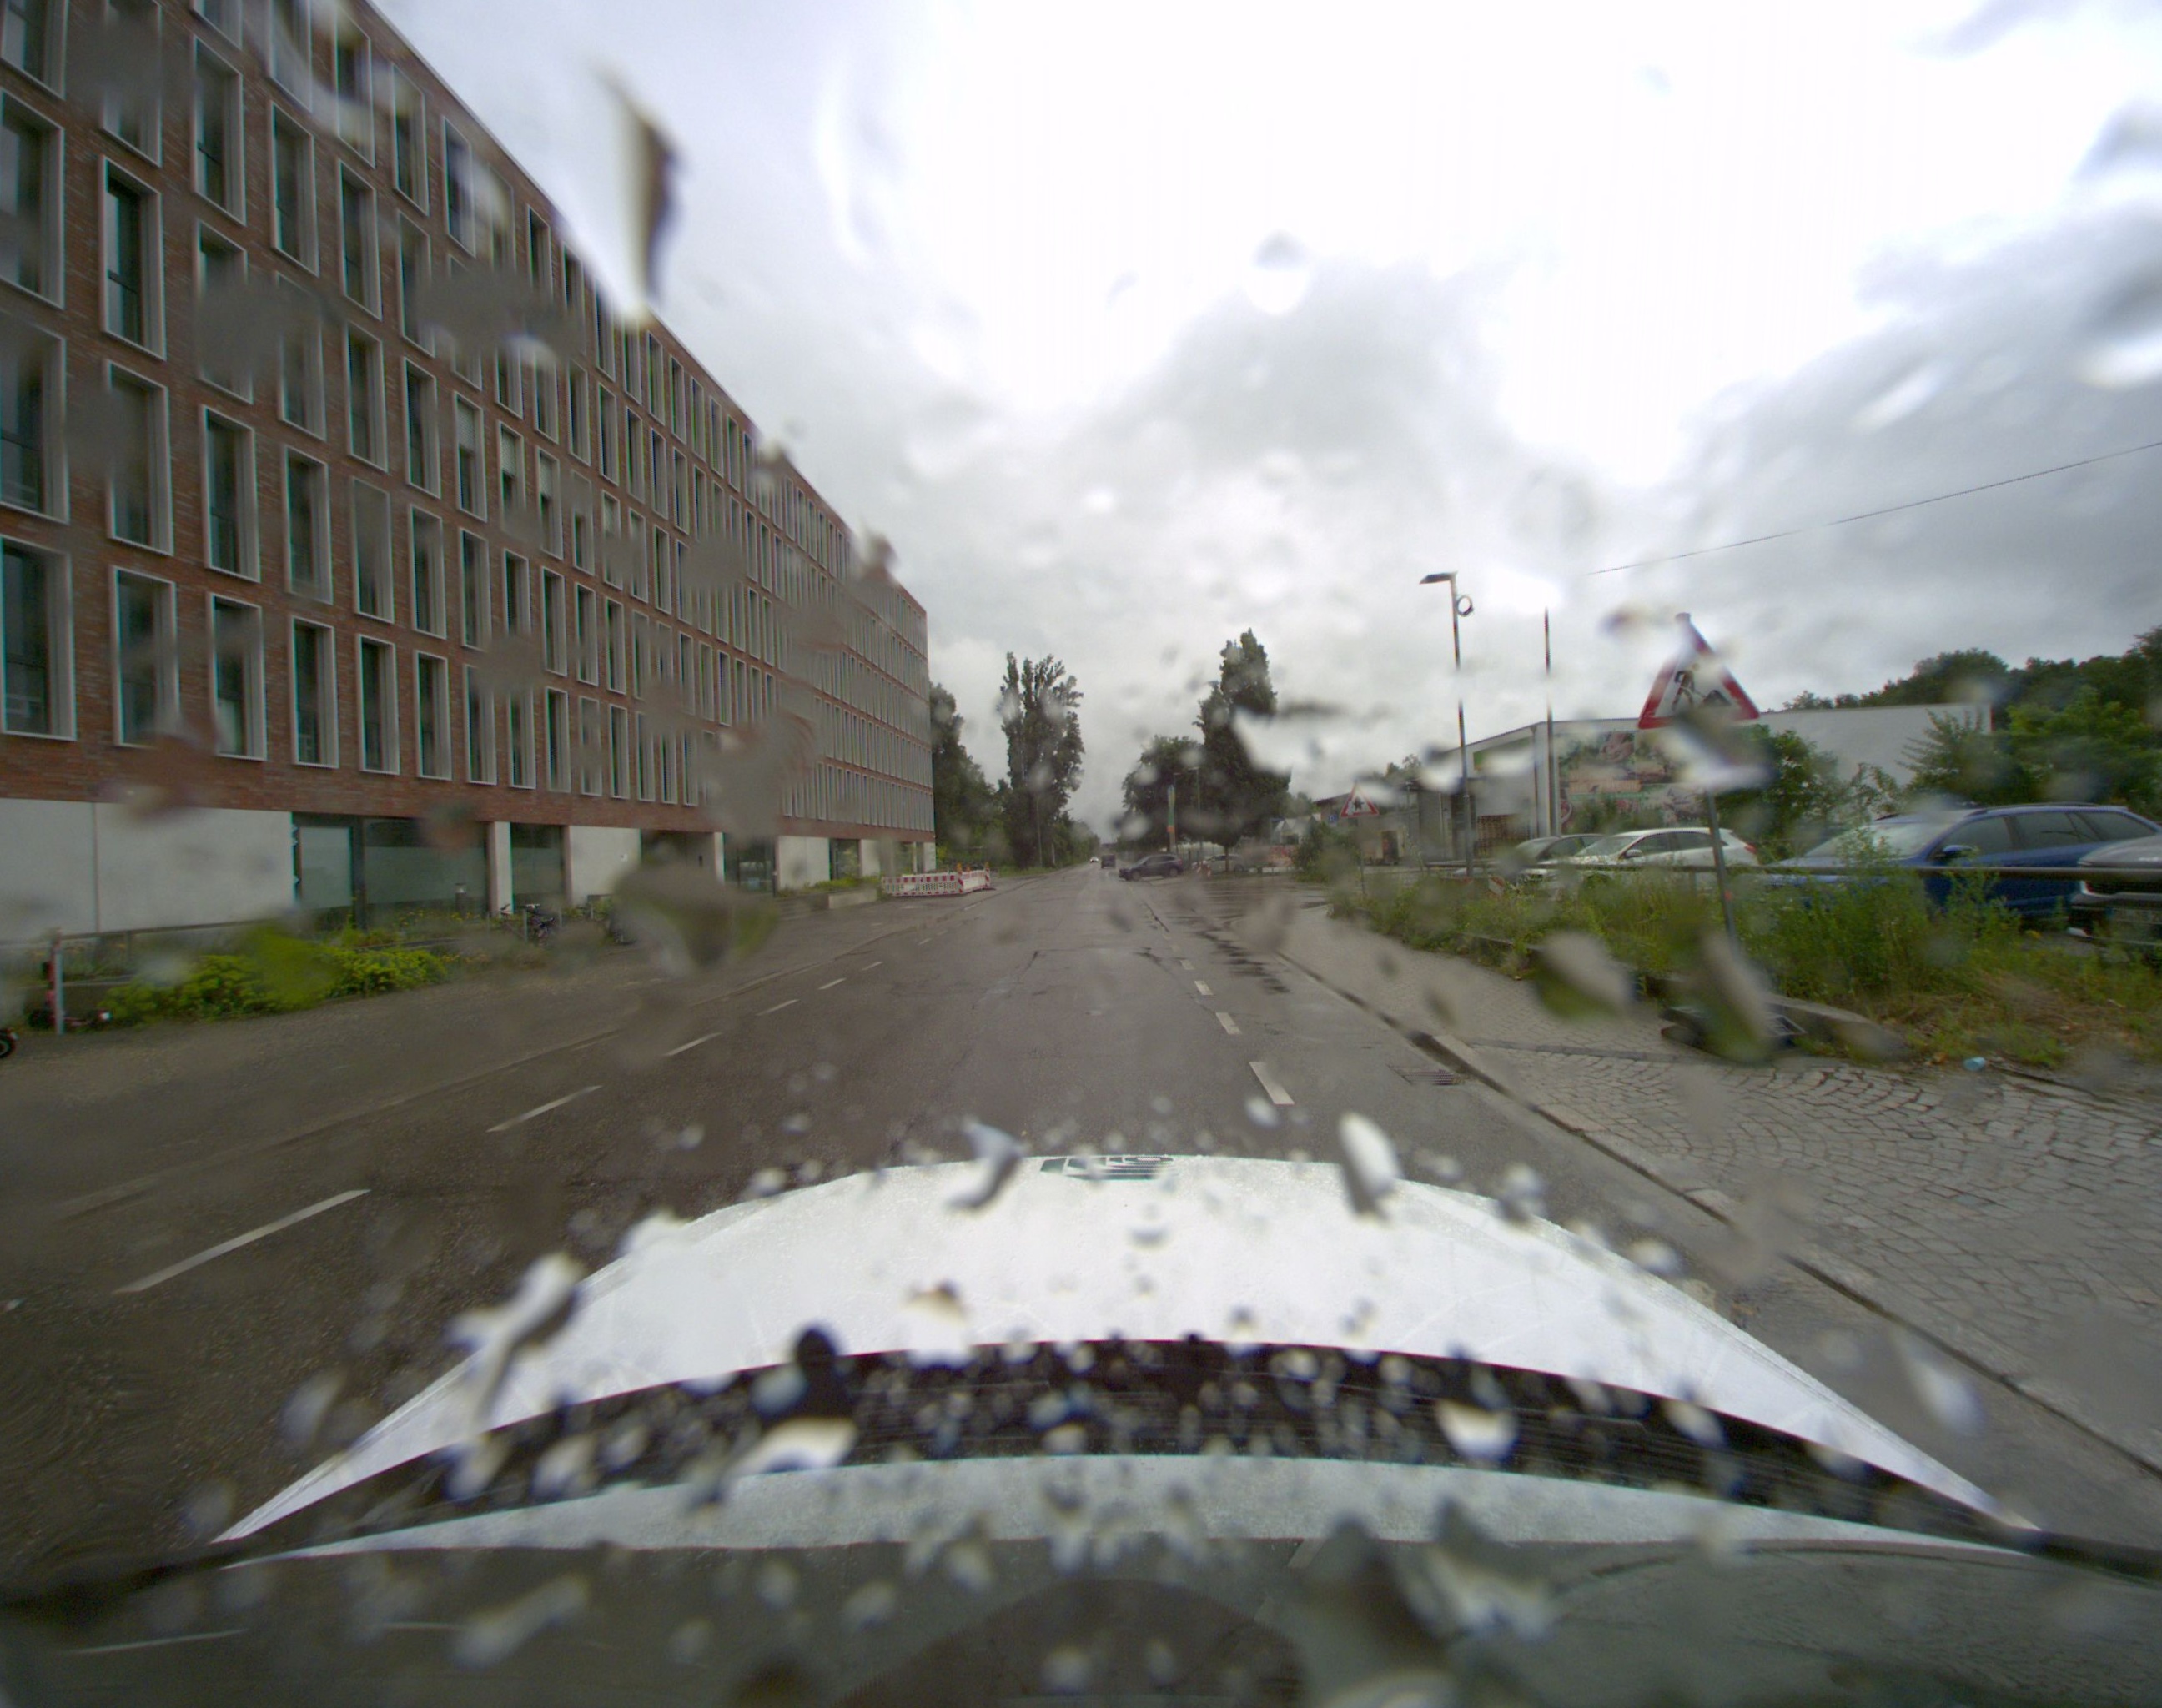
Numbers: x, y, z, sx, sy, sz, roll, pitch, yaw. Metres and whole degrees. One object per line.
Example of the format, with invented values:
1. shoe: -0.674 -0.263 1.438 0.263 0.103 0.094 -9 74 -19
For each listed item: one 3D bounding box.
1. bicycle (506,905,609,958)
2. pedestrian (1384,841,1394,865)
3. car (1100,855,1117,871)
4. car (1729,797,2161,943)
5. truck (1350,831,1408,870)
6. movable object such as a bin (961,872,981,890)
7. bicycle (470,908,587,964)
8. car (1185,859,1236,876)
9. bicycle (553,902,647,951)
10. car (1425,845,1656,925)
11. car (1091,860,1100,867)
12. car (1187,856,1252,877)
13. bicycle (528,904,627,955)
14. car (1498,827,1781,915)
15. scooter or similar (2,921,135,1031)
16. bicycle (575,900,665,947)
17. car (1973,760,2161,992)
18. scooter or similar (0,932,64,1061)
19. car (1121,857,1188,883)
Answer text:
1. bicycle: -11.233 1.659 17.510 1.853 1.077 0.544 -1 -2 0
2. pedestrian: 22.451 -0.105 59.347 0.453 1.718 0.433 -4 -1 5
3. car: 3.403 1.163 101.973 1.986 1.910 4.201 -3 -2 1
4. car: 10.745 0.201 9.843 4.278 1.517 1.820 -2 -3 2
5. truck: 23.012 -0.213 63.253 2.290 2.659 7.426 -4 -1 5
6. movable object such as a bin: -7.974 1.953 59.162 1.293 1.308 1.446 -2 -1 -4
7. bicycle: -11.248 1.654 16.605 1.941 1.077 0.620 -1 -2 0
8. car: 10.423 1.079 65.696 3.925 1.256 1.619 -1 -1 0
9. bicycle: -11.191 1.686 18.959 1.853 1.077 0.544 -1 -2 0
10. car: 10.404 0.703 18.617 4.213 1.400 1.886 -4 -2 -7
11. car: 3.430 2.269 189.199 1.726 1.450 4.383 -5 -1 3
12. car: 10.669 0.940 62.831 4.687 1.462 1.890 -2 -1 0
13. bicycle: -11.208 1.663 18.140 1.853 1.077 0.544 -1 -2 0
14. car: 10.760 0.348 15.960 4.165 1.510 1.891 -2 -3 2
15. scooter or similar: -12.050 1.444 9.701 1.219 1.208 0.418 -3 -1 9
16. bicycle: -11.176 1.683 19.783 1.853 1.077 0.544 -1 -2 0
17. car: 10.455 0.049 6.179 4.657 1.735 2.131 -3 -3 6
18. scooter or similar: -10.792 1.411 7.826 0.461 1.208 1.215 -4 -2 44
19. car: 4.975 1.086 55.198 4.139 1.569 1.758 -3 -1 -12
